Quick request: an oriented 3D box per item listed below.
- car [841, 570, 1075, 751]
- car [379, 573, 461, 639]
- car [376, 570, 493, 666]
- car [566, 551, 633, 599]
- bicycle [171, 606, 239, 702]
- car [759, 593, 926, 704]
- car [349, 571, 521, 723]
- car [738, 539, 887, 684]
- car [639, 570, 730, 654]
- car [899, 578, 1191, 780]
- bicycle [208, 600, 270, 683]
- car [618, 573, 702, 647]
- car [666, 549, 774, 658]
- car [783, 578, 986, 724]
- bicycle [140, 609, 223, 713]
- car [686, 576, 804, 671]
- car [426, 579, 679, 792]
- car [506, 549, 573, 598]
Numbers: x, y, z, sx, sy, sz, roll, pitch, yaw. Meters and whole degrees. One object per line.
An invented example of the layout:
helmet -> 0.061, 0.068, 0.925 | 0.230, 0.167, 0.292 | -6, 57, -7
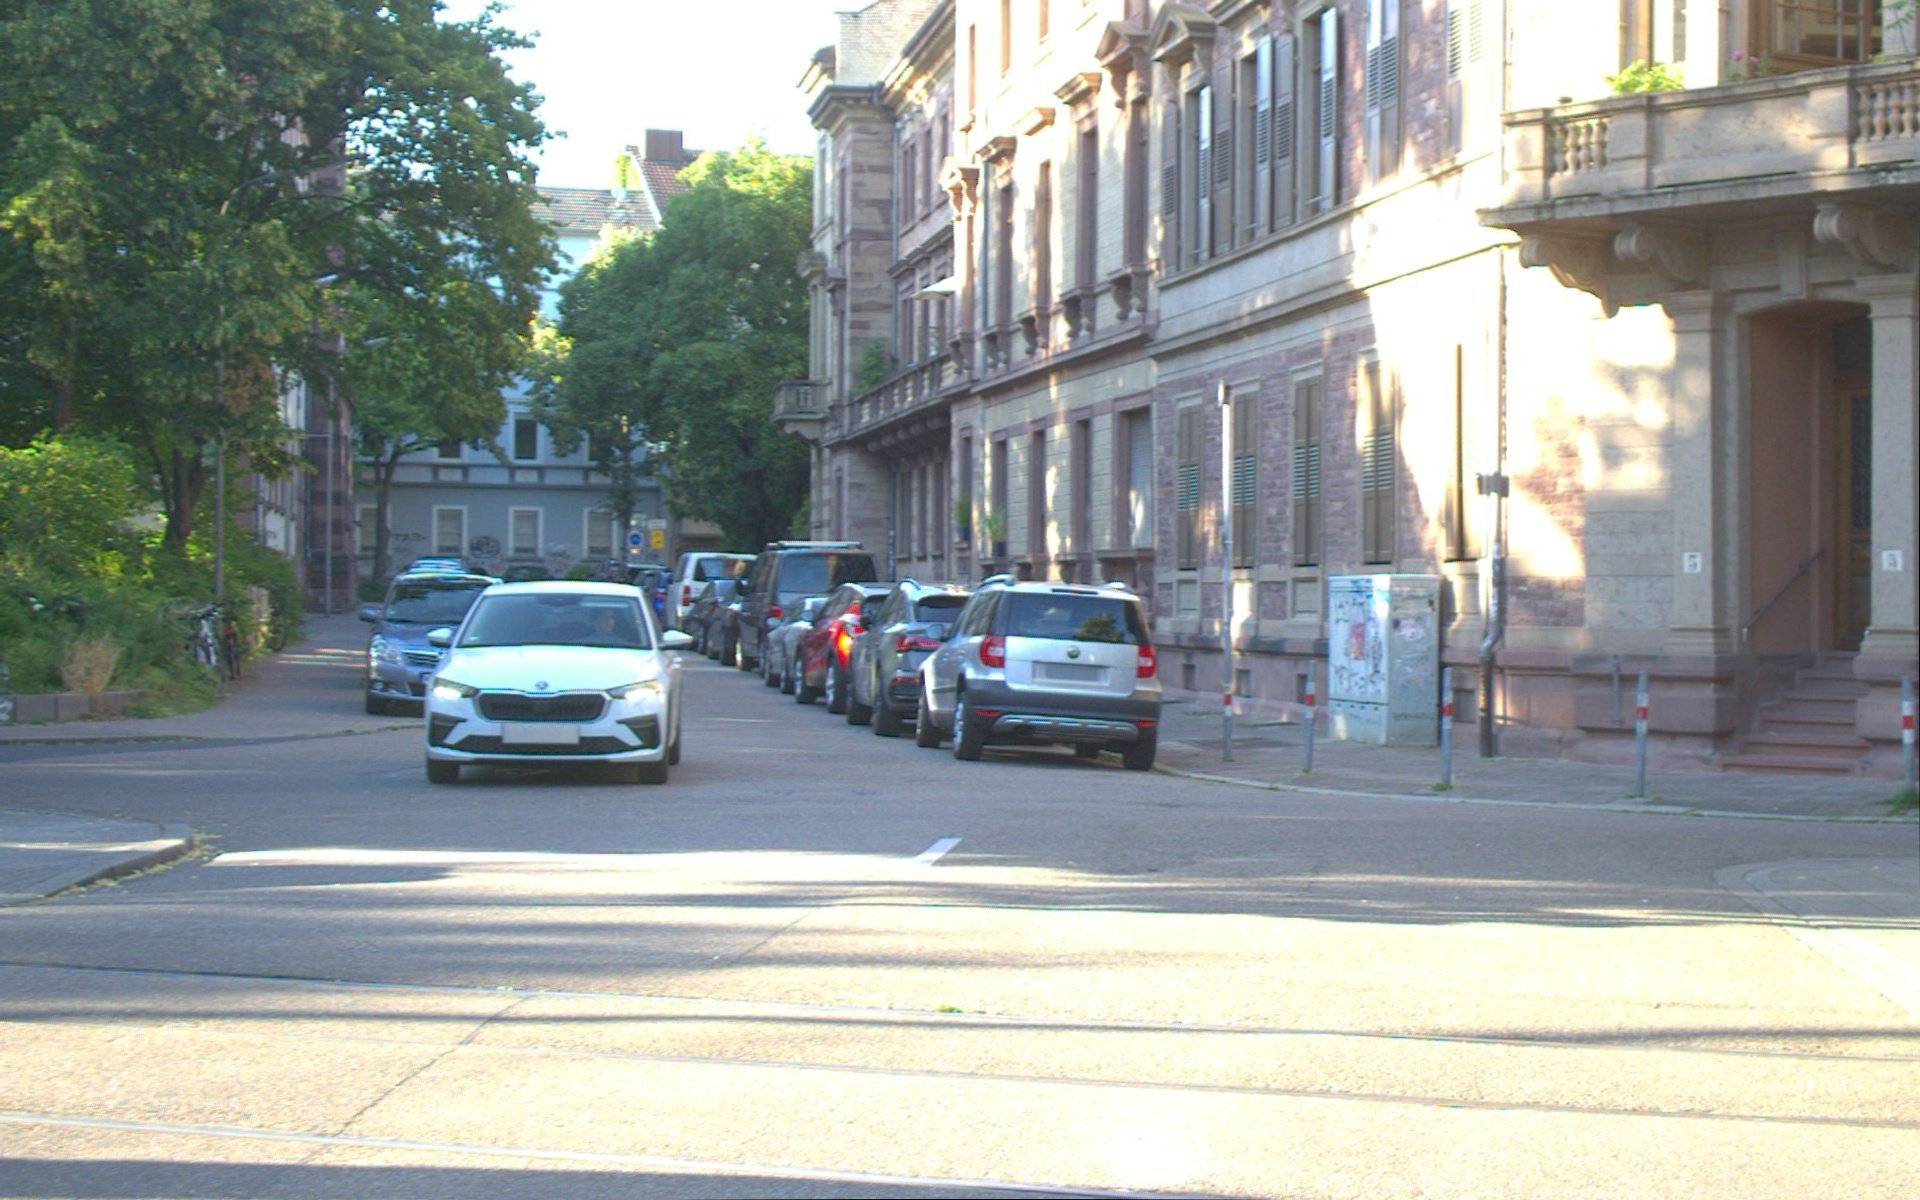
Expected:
car -> -0.094, 0.593, 36.948 | 1.825, 1.718, 4.544 | 4, 0, -8
car -> -13.384, 0.140, 85.391 | 1.825, 1.495, 3.932 | 4, 0, -8
car -> -9.041, 0.290, 59.372 | 1.825, 1.495, 3.932 | 4, 0, -8
car -> -13.727, -0.937, 130.762 | 1.993, 1.678, 4.001 | 2, -2, -14
bicycle -> -9.021, 0.627, 41.138 | 0.596, 1.097, 2.628 | 0, 0, -8
car -> -1.657, 0.631, 47.056 | 1.797, 1.341, 3.956 | 3, 0, -8
car -> -6.208, 0.514, 40.894 | 1.825, 1.609, 4.292 | 4, 0, -8
car -> -2.324, 0.154, 53.149 | 1.797, 2.065, 3.956 | 3, 0, -8
car -> -6.524, 0.256, 81.171 | 1.797, 1.832, 3.956 | 3, 0, -8
car -> 0.707, 0.690, 31.979 | 1.915, 1.651, 4.188 | 4, -1, -9
bicycle -> -9.973, 0.554, 47.587 | 0.596, 1.097, 2.628 | 0, 0, -7
car -> -7.562, 0.230, 86.311 | 1.797, 1.722, 3.956 | 3, 0, -8
car -> -4.912, 0.058, 69.842 | 1.797, 2.065, 3.956 | 3, 0, -8
car -> -0.979, 0.592, 42.290 | 1.797, 1.608, 3.956 | 3, 0, -10
bicycle -> -8.685, 0.662, 38.439 | 0.596, 1.097, 2.628 | 0, 0, -6
car -> -4.050, 0.419, 64.193 | 1.797, 1.617, 3.956 | 3, 0, -8
car -> -3.013, 0.587, 26.067 | 1.702, 1.452, 4.063 | 0, 1, -4
car -> -15.994, -0.988, 130.607 | 1.993, 1.678, 4.001 | 2, -2, -14
